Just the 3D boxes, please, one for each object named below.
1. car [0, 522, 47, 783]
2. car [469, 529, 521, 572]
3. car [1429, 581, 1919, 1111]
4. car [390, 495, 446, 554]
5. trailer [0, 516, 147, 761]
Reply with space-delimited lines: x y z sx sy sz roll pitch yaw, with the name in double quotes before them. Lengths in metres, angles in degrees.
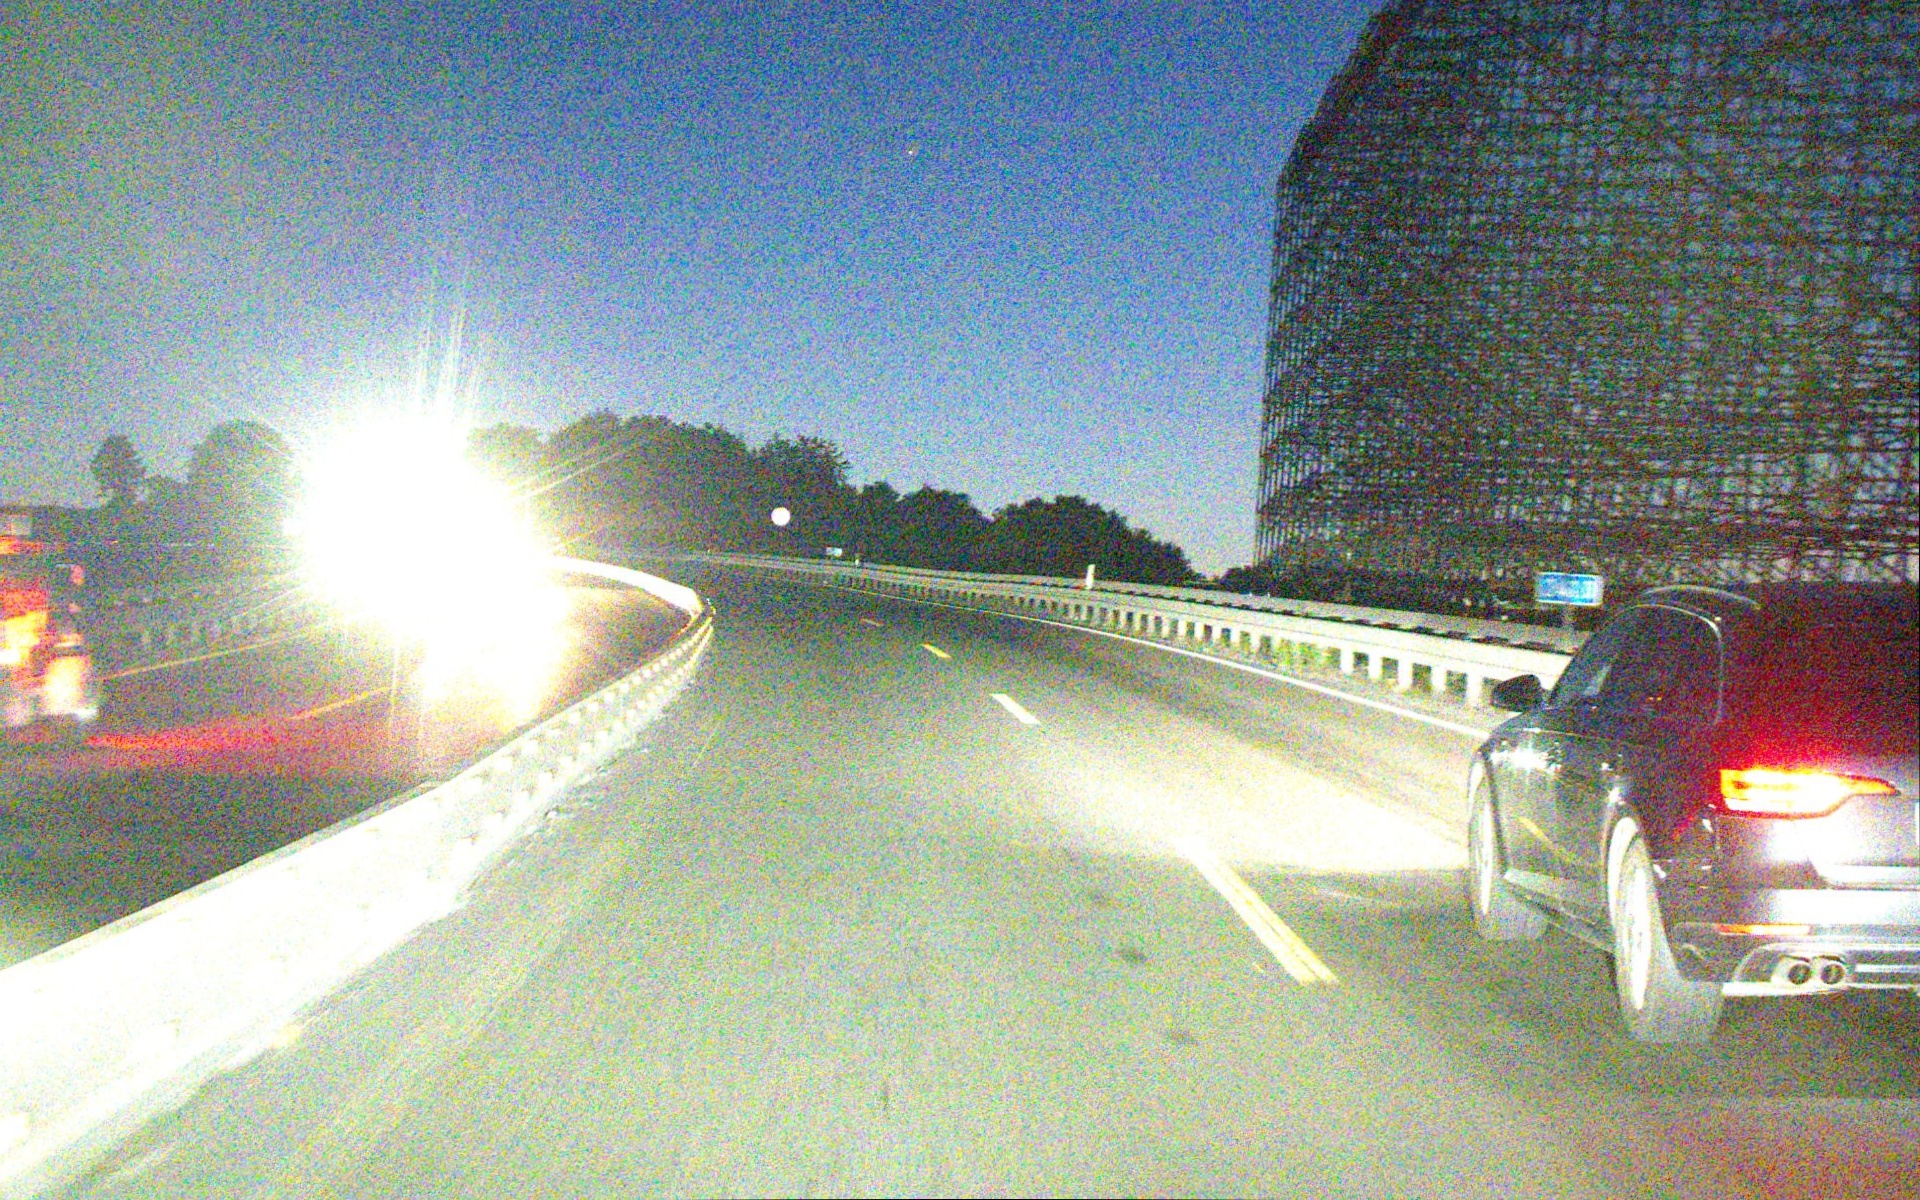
"car" -6.958 0.331 20.393 2.013 1.634 4.863 0 0 -3
"car" -15.800 -1.676 116.687 1.684 1.454 4.201 0 1 -8
"car" 2.896 0.669 11.970 1.808 1.422 4.875 0 1 -1
"car" -30.060 -4.143 190.530 2.485 3.095 7.387 0 0 -13
"trailer" -7.135 0.251 24.527 2.013 1.634 3.418 0 0 -3
